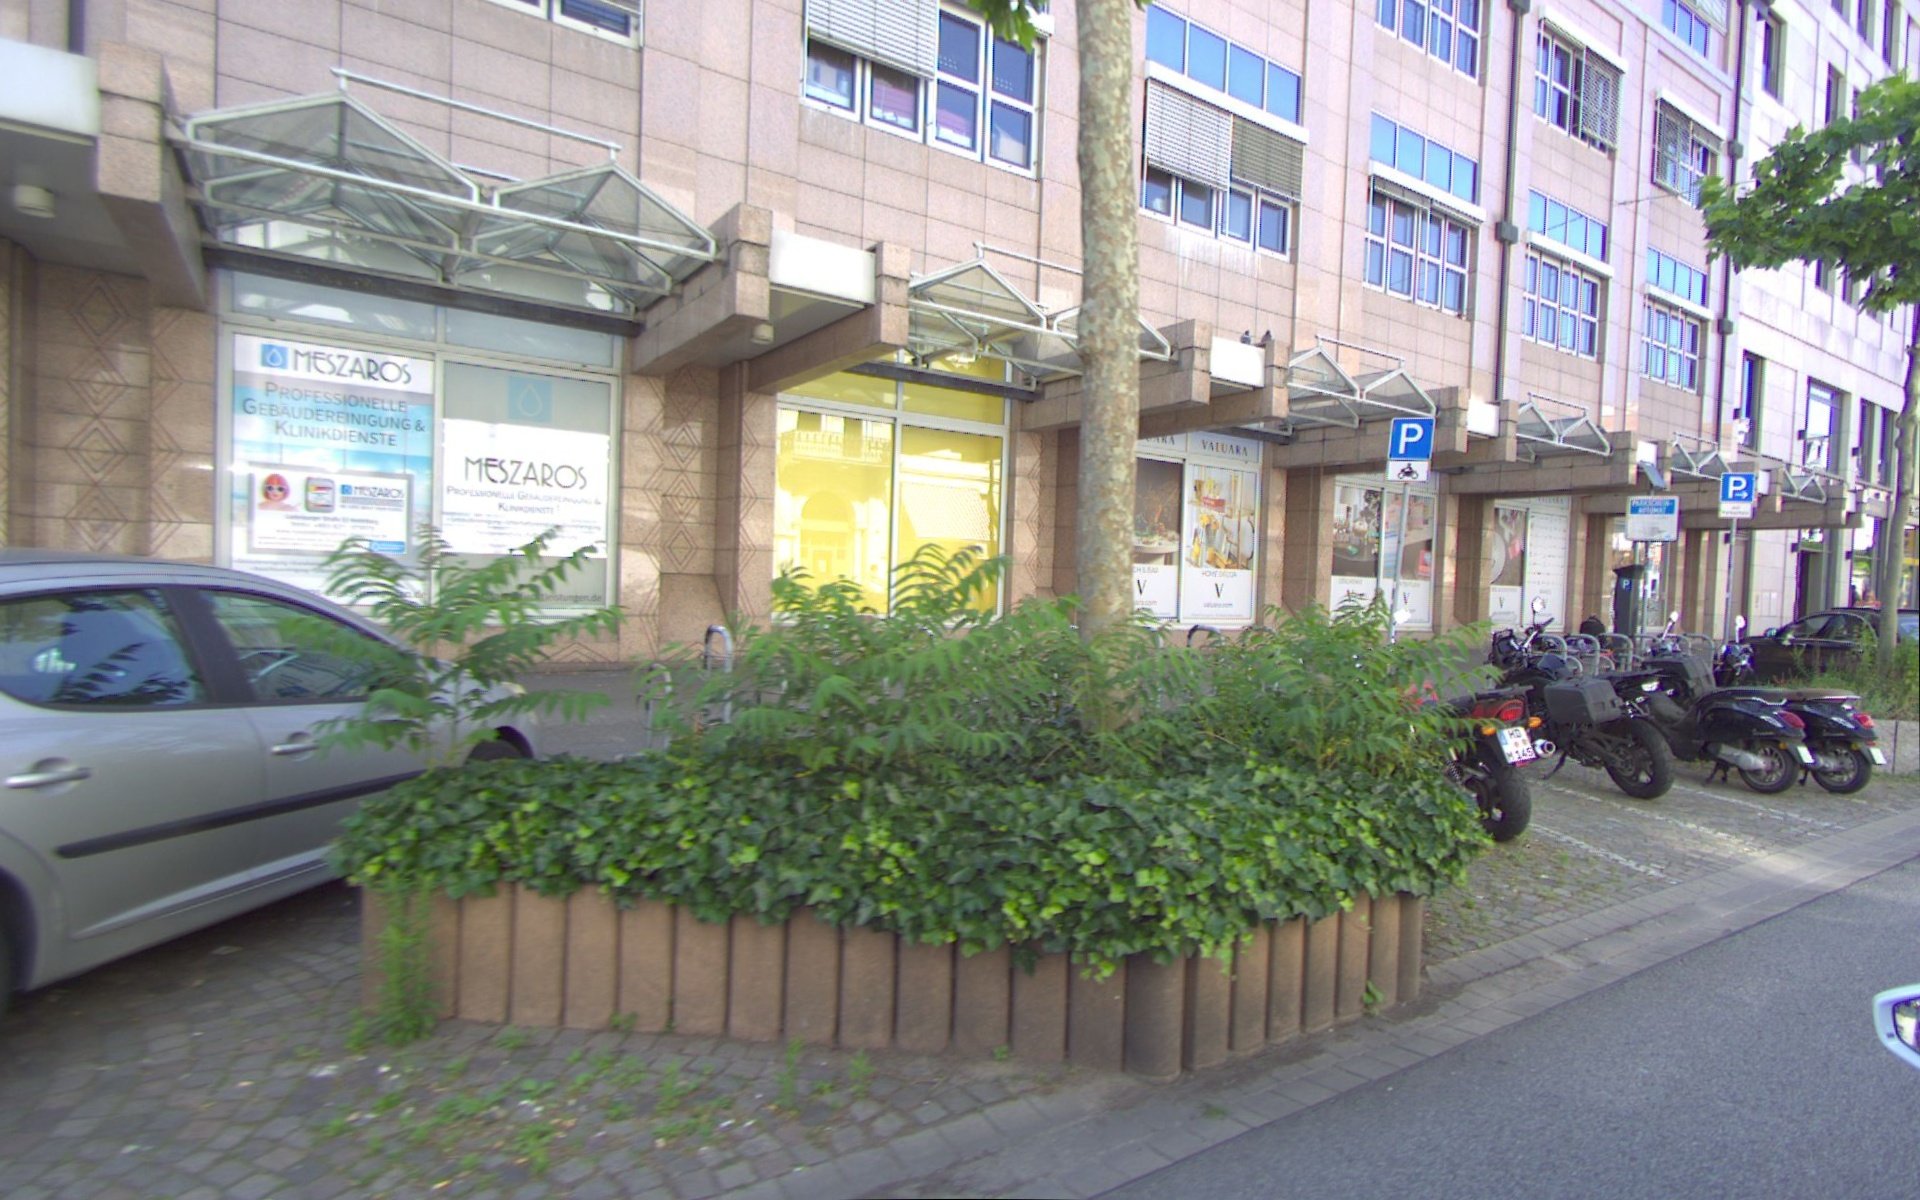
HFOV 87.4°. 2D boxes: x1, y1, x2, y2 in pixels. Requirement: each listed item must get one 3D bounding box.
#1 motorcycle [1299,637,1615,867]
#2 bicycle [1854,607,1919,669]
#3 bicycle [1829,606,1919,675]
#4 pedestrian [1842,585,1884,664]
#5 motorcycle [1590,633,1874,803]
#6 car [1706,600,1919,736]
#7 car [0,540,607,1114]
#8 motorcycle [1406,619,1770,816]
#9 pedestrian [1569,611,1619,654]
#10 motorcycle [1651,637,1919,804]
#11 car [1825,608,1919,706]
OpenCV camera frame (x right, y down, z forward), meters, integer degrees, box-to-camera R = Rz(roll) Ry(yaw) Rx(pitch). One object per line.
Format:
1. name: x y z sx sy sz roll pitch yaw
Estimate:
1. motorcycle: 3.255 0.927 6.909 0.903 1.185 2.177 1 2 -5
2. bicycle: 20.953 0.864 21.937 2.041 1.236 0.756 6 4 41
3. bicycle: 19.745 0.862 21.163 0.364 1.306 2.047 1 4 -40
4. pedestrian: 19.643 0.529 21.845 0.631 1.679 0.561 0 1 -41
5. motorcycle: 6.603 0.951 8.750 0.716 1.185 1.911 1 2 -12
6. car: 13.110 0.870 14.290 1.950 1.554 4.759 2 2 9
7. car: -3.290 0.535 3.991 1.896 1.515 4.059 2 2 8
8. motorcycle: 5.085 0.872 8.425 1.271 1.285 2.347 1 2 -13
9. pedestrian: 13.583 0.691 21.523 0.766 0.820 0.562 1 6 -34
10. motorcycle: 7.320 0.990 8.923 0.747 1.185 1.911 1 2 -12
11. car: 15.946 0.992 15.244 1.845 1.442 4.798 2 3 7
